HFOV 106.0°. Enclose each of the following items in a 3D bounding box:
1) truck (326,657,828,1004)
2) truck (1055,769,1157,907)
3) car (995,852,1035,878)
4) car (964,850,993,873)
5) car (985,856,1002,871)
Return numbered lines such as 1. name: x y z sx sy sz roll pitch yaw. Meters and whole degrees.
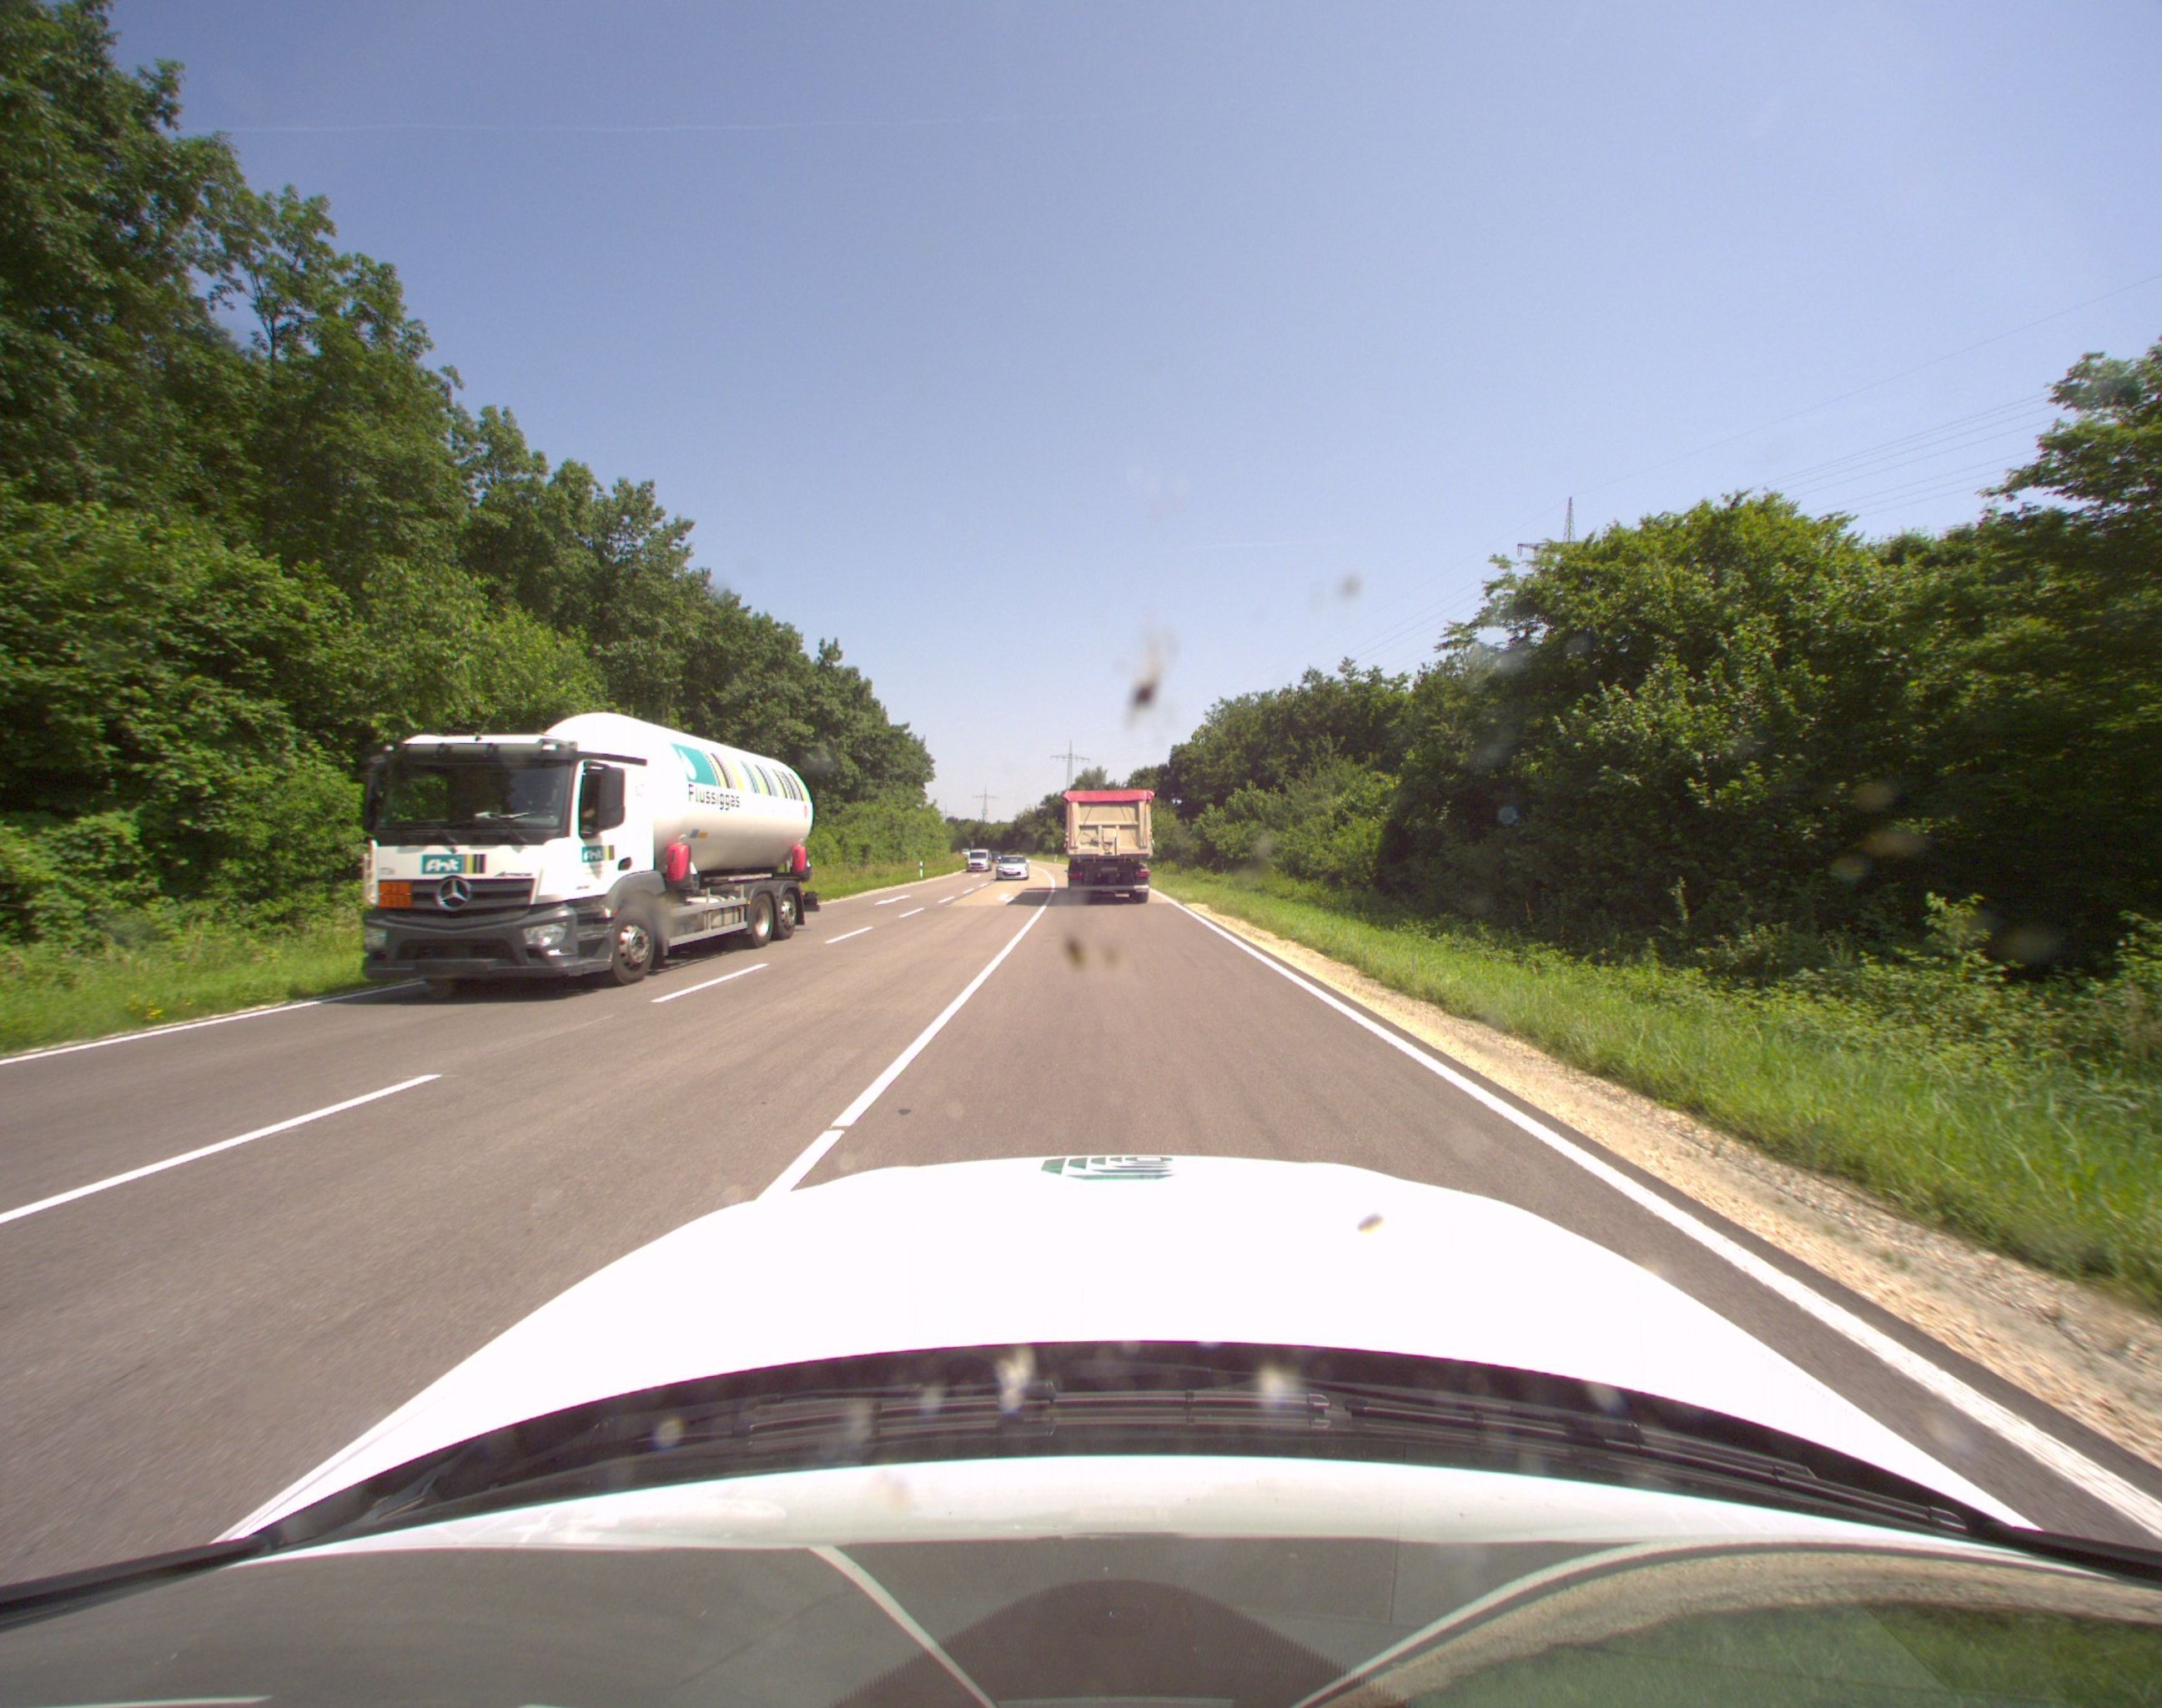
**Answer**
1. truck: -6.735 -0.239 13.075 2.619 3.671 8.793 -1 0 0
2. truck: 0.762 -0.505 29.401 2.884 3.962 11.932 -1 0 0
3. car: -3.737 0.629 46.594 1.701 1.419 4.102 -1 -1 4
4. car: -8.176 0.621 65.340 1.838 1.779 4.889 -1 -1 -2
5. car: -11.323 1.257 105.427 1.838 1.779 4.889 -1 -1 -2
